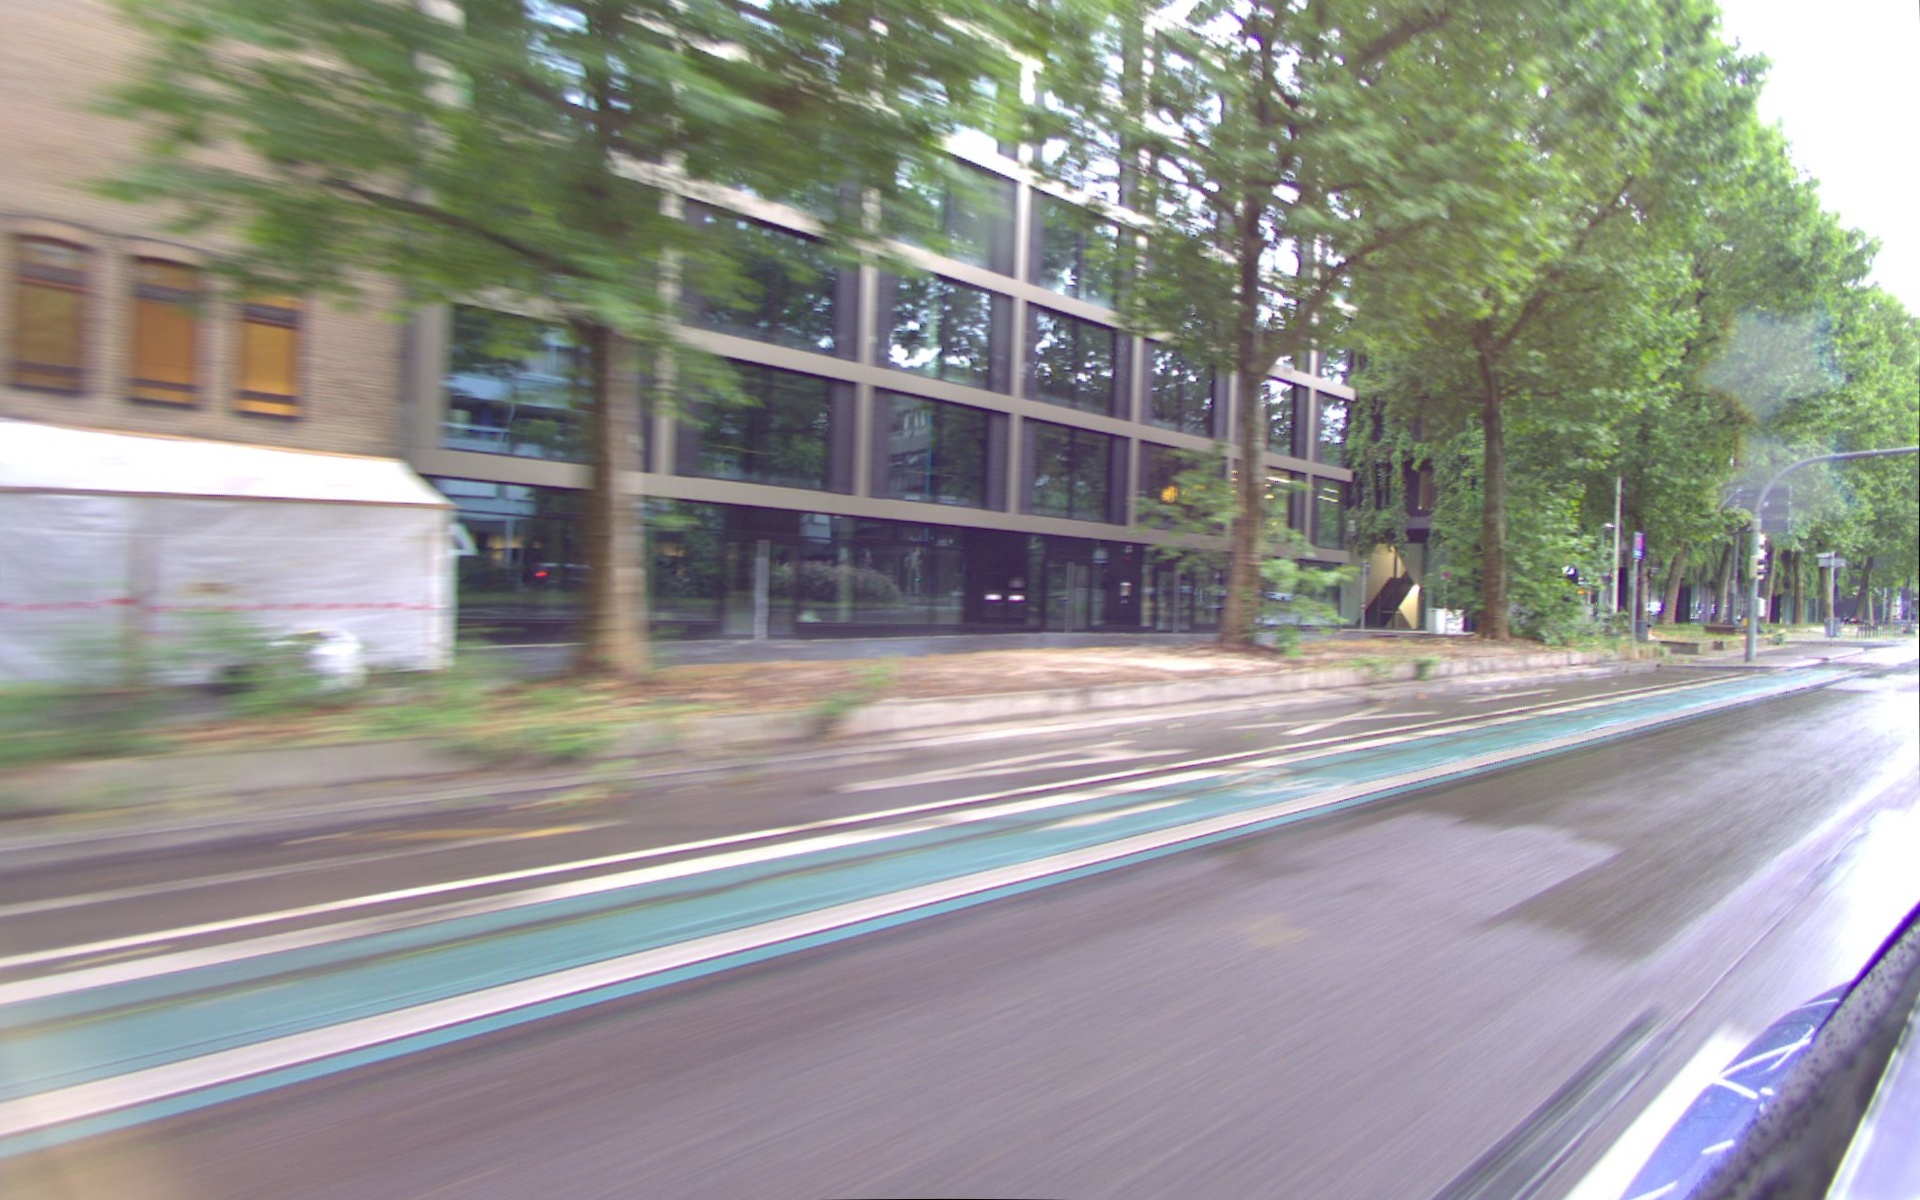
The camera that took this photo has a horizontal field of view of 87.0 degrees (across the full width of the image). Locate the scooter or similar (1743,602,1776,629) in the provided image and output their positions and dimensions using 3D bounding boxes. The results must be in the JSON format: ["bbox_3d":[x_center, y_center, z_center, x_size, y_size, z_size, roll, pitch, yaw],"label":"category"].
[{"bbox_3d":[39.610,0.767,50.143,1.165,1.298,0.535,0,-1,9],"label":"scooter or similar"}]
